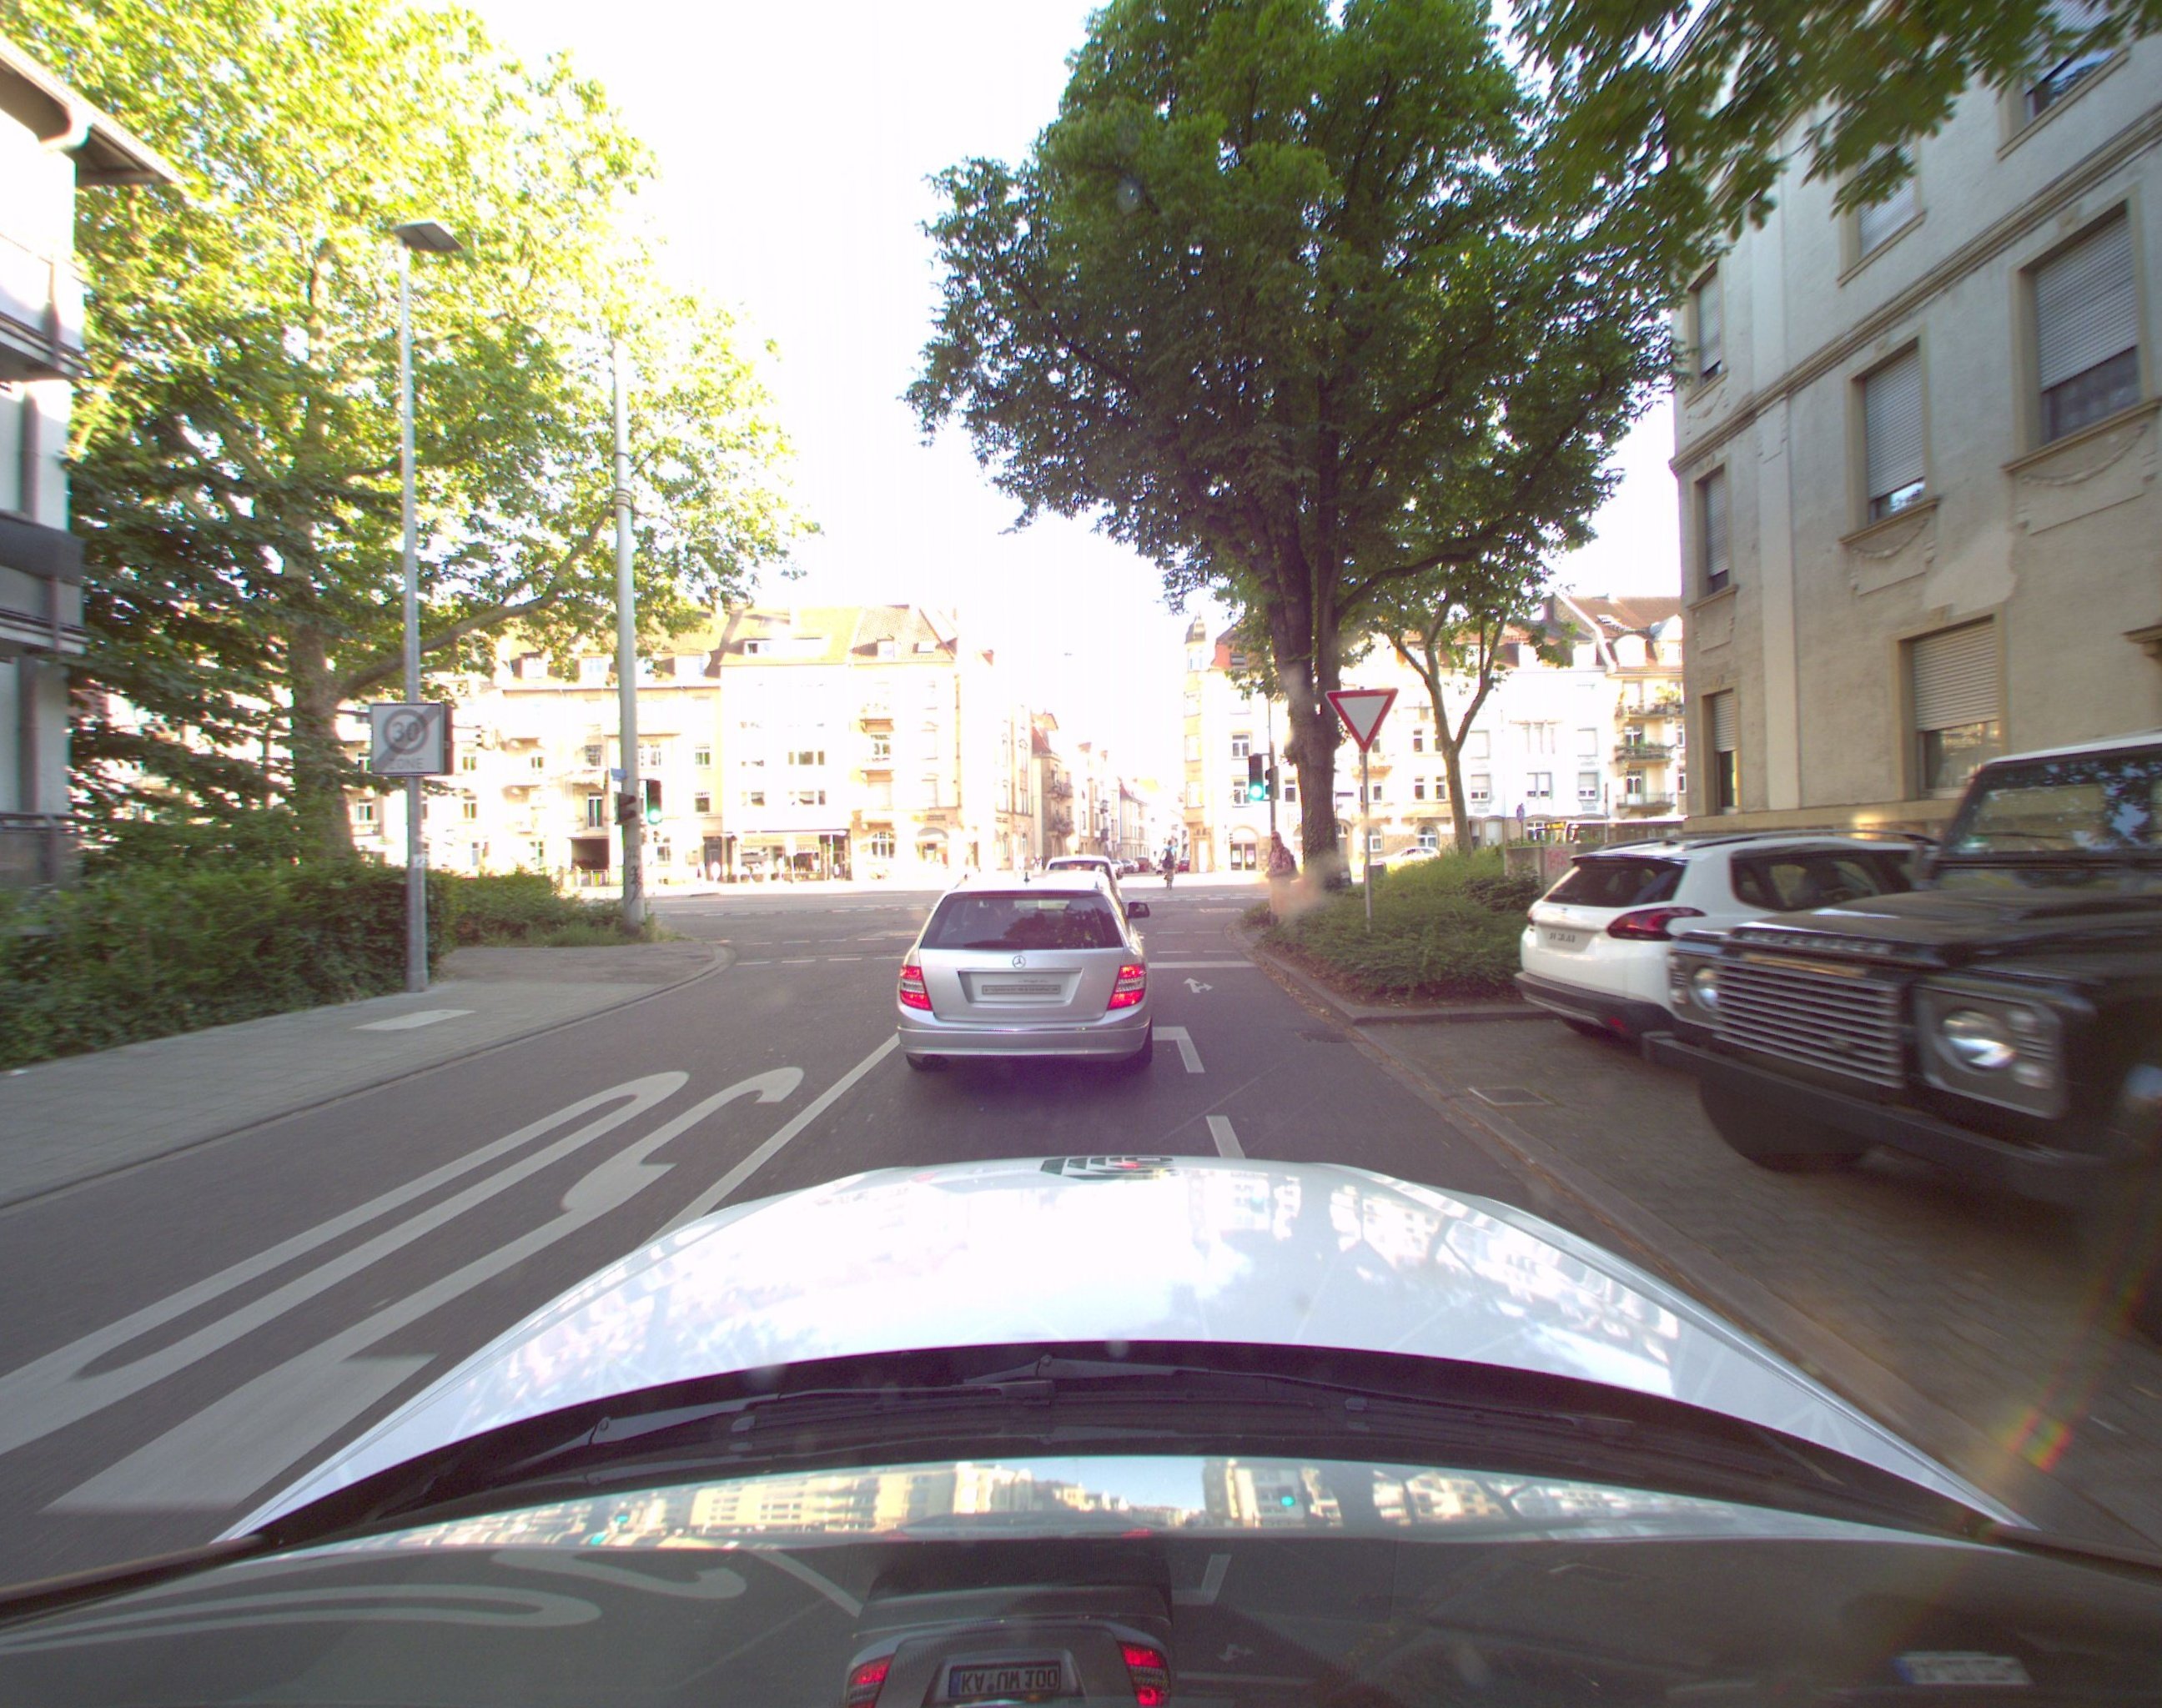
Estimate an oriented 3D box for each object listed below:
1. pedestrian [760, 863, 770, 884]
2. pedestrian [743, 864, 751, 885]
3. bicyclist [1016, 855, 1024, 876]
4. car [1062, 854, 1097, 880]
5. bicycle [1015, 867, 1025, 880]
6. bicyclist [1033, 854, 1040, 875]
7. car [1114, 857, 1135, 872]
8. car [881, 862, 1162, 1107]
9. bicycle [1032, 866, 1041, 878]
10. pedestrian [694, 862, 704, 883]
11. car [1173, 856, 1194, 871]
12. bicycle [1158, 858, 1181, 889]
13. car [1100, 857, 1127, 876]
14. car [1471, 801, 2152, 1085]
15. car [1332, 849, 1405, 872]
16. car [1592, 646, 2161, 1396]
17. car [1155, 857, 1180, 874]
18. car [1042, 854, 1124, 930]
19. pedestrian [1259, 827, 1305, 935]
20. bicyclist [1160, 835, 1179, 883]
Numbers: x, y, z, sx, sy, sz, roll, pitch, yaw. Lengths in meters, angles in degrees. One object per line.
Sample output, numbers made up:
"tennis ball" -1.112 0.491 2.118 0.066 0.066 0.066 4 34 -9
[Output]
"pedestrian" -22.907 1.425 59.077 0.507 1.511 0.536 -1 0 -3
"pedestrian" -23.924 1.453 58.383 0.474 1.511 0.428 -1 0 -17
"bicyclist" -4.287 0.798 57.156 0.465 1.514 0.655 -1 0 0
"car" -0.098 1.048 65.715 1.925 1.958 4.163 -1 0 11
"bicycle" -4.290 1.343 57.113 0.567 0.834 1.565 -1 0 0
"bicyclist" -3.189 0.750 58.508 0.465 1.521 0.694 -1 0 0
"car" 5.102 1.226 95.442 1.638 1.783 3.878 -1 -1 14
"car" -0.331 0.797 6.639 1.684 1.429 3.493 0 0 1
"bicycle" -3.177 1.274 58.515 0.567 0.834 1.565 -1 0 0
"pedestrian" -26.953 1.296 57.461 0.566 1.511 0.499 -1 0 -16
"car" 11.944 1.127 94.741 1.708 1.478 4.017 -6 -1 16
"bicycle" 3.339 0.717 30.773 0.739 1.118 2.015 0 0 3
"car" 3.091 1.150 77.229 1.674 1.722 4.015 -1 0 14
"car" 4.997 0.536 5.921 3.473 1.586 1.709 -3 0 -3
"car" 14.997 0.344 42.622 3.351 1.069 1.381 -1 0 2
"car" 4.751 0.319 3.047 4.476 1.956 1.793 -3 0 0
"car" 8.408 1.083 78.787 1.708 1.478 4.017 -3 0 16
"car" 0.091 0.723 17.259 1.527 1.391 3.601 -1 0 2
"pedestrian" 3.536 0.471 14.345 0.630 1.844 0.574 -1 0 -1
"bicyclist" 3.330 0.184 30.666 0.644 1.775 0.831 0 -1 3
